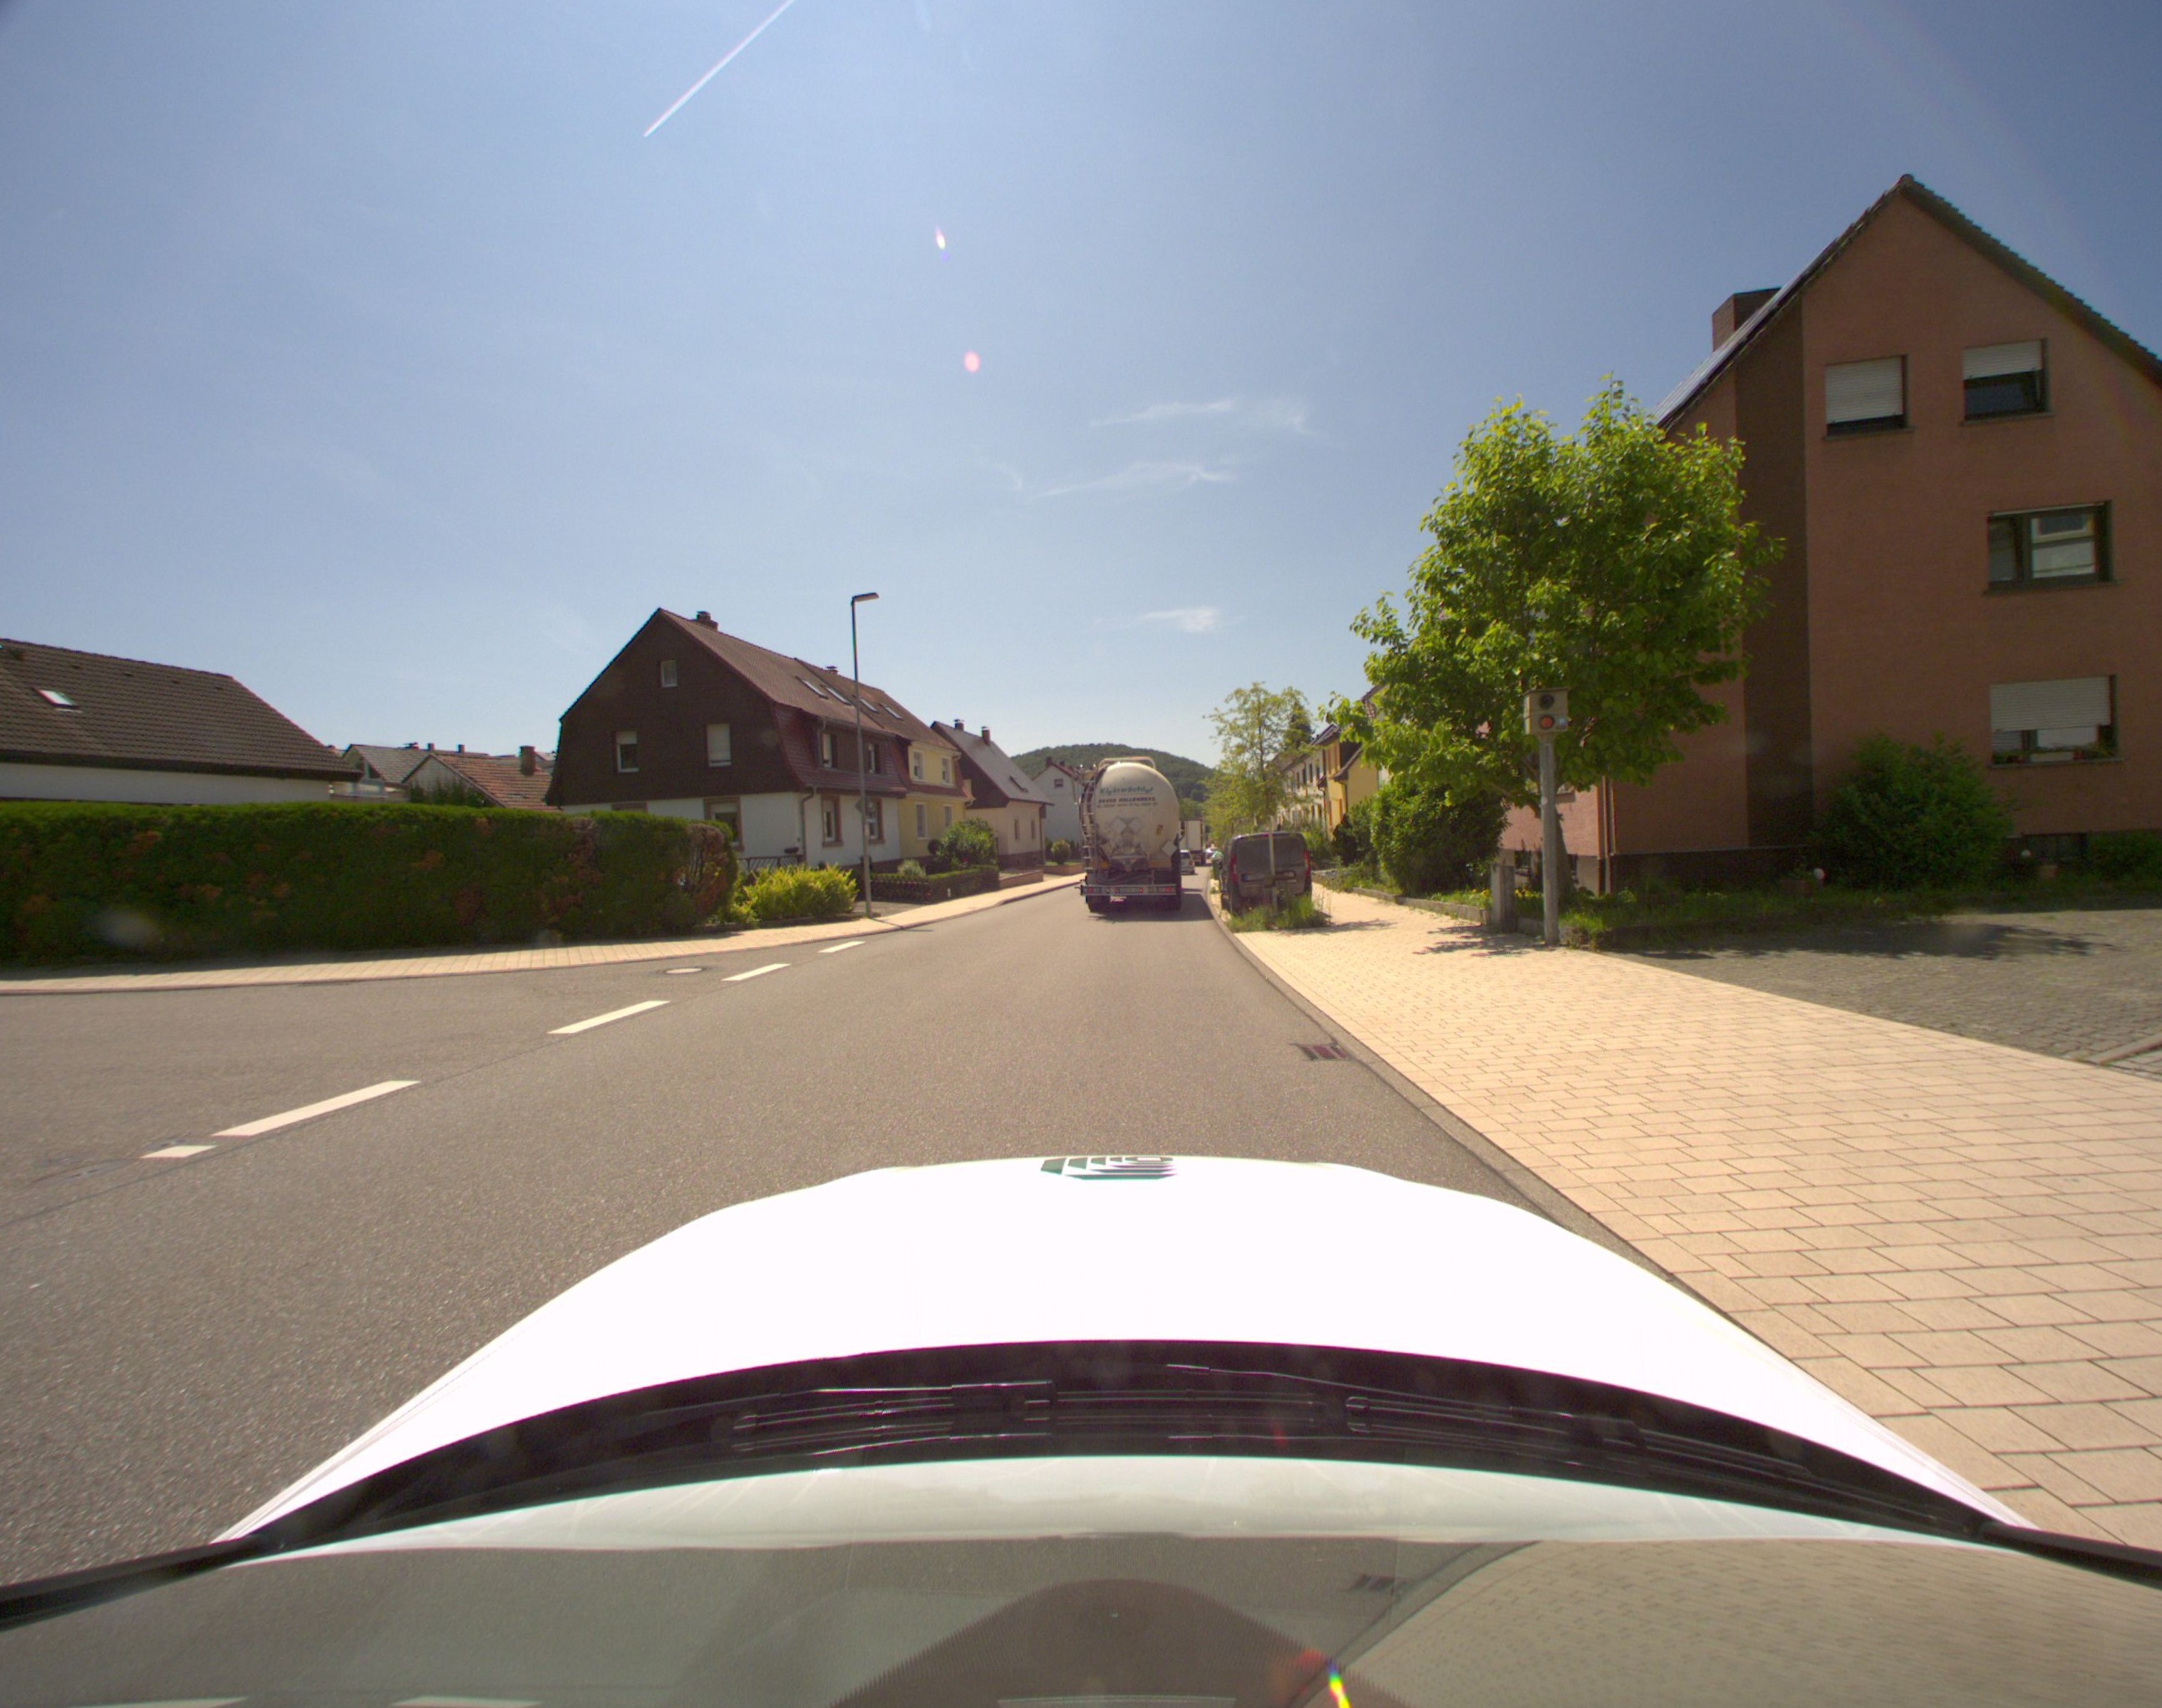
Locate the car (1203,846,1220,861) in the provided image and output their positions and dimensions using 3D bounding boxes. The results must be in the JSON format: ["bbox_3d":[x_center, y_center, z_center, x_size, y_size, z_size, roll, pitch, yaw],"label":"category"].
[{"bbox_3d":[16.559,-0.121,103.249,1.983,1.822,4.009,-1,0,7],"label":"car"}]

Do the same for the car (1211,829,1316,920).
[{"bbox_3d":[4.234,0.419,19.575,1.845,1.842,4.679,-3,0,6],"label":"car"}]

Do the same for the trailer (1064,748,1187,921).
[{"bbox_3d":[1.640,-0.518,24.363,2.781,4.000,10.344,-2,1,7],"label":"trailer"}]

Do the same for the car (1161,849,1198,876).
[{"bbox_3d":[6.250,0.504,51.167,1.896,1.554,4.013,-3,0,11],"label":"car"}]

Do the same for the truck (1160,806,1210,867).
[{"bbox_3d":[9.287,-1.499,72.679,3.889,4.895,9.817,-3,0,7],"label":"truck"}]

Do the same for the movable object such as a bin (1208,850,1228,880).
[{"bbox_3d":[6.835,0.558,40.560,0.788,1.395,0.927,-6,-1,7],"label":"movable object such as a bin"}]

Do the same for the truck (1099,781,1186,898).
[{"bbox_3d":[2.495,-0.537,30.853,2.792,3.936,6.113,-1,1,8],"label":"truck"}]
